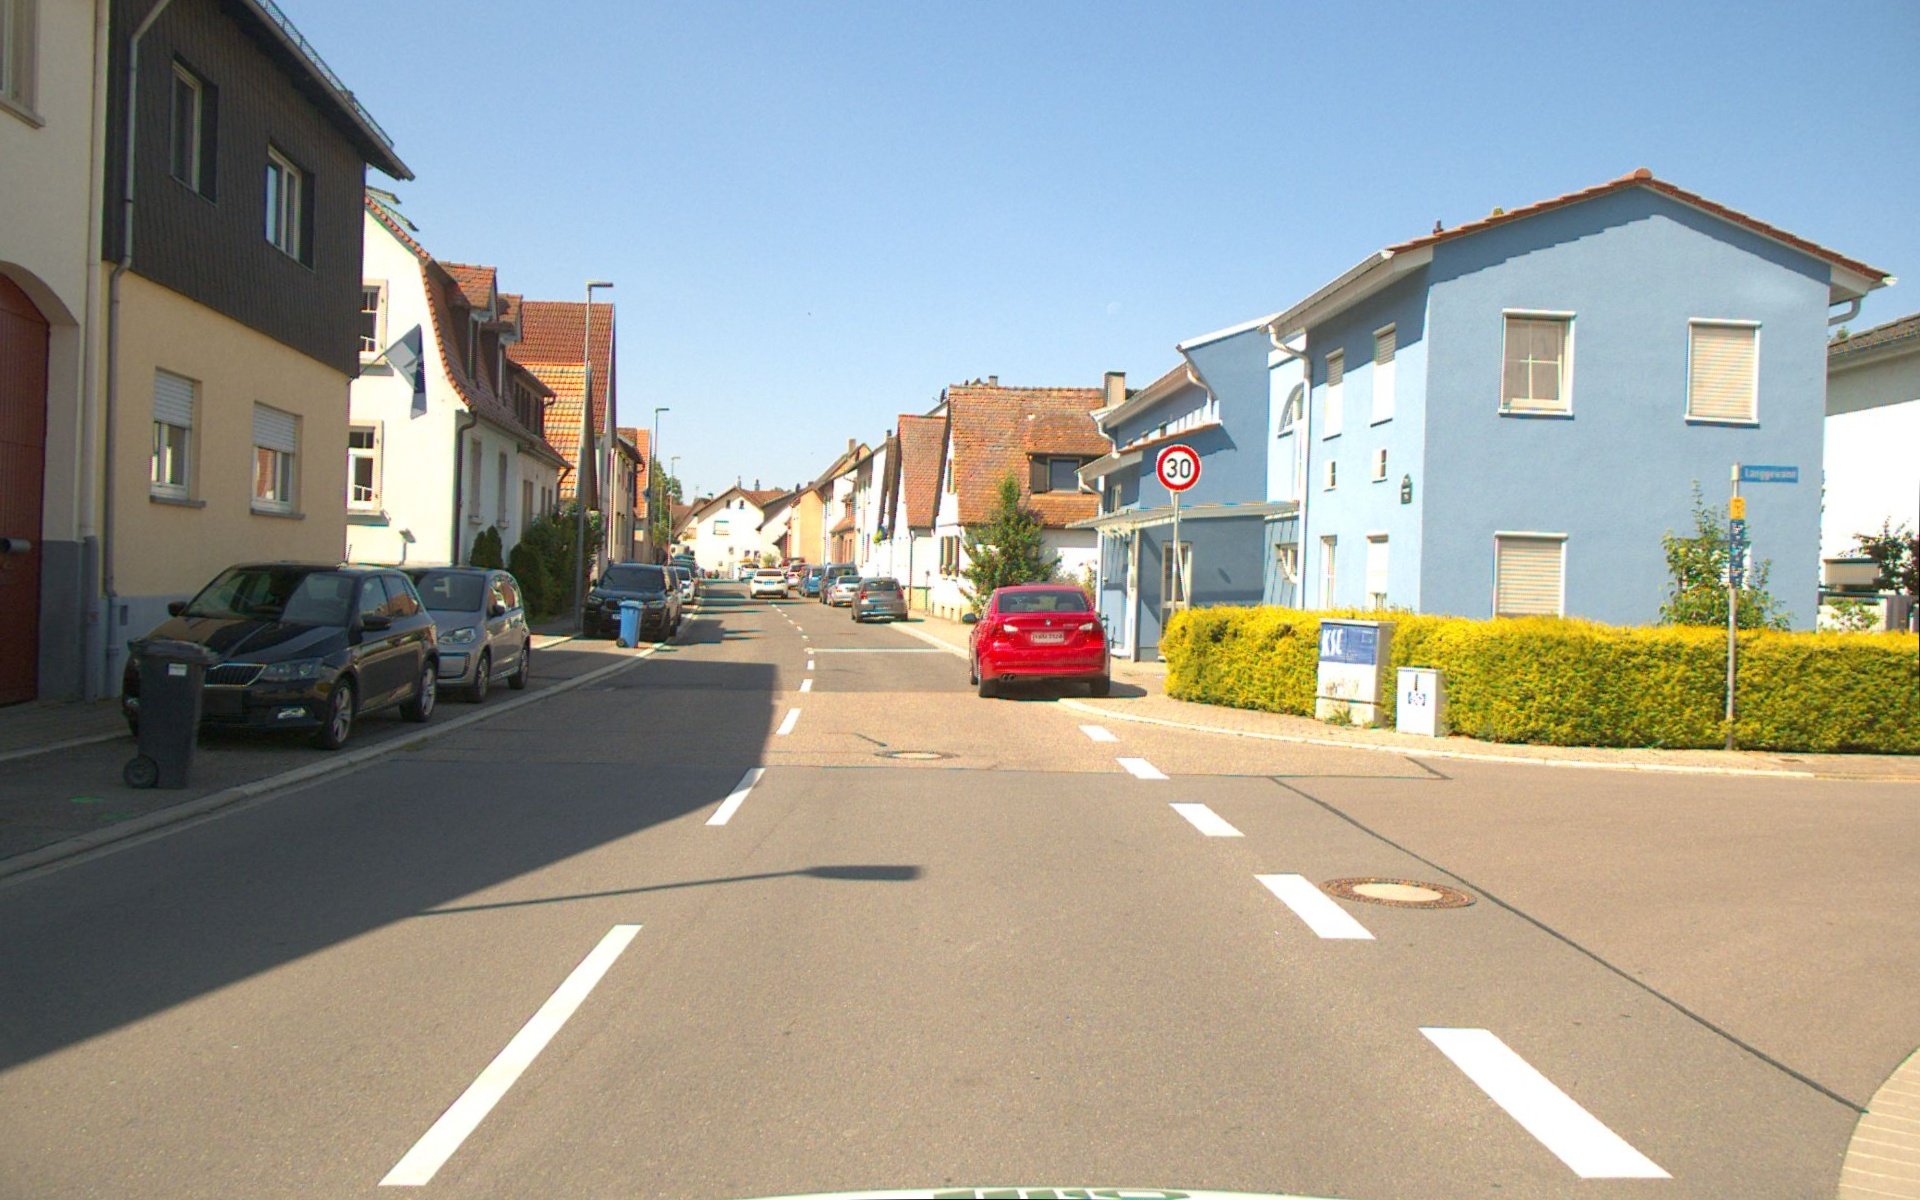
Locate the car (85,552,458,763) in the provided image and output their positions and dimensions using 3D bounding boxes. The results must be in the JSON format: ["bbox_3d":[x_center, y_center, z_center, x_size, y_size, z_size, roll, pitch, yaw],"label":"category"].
[{"bbox_3d":[-5.761,0.414,14.393,1.645,1.462,3.993,4,0,-3],"label":"car"}]

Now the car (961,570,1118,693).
[{"bbox_3d":[0.995,0.409,22.771,1.698,1.521,4.351,0,0,-4],"label":"car"}]

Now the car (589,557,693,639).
[{"bbox_3d":[-7.402,-0.070,38.729,1.883,1.696,4.660,3,0,-6],"label":"car"}]

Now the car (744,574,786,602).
[{"bbox_3d":[-9.780,-0.614,82.908,1.956,1.310,3.992,1,1,-9],"label":"car"}]

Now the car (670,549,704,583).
[{"bbox_3d":[-13.781,-1.714,83.519,1.589,1.605,3.953,2,1,-9],"label":"car"}]

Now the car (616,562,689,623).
[{"bbox_3d":[-9.068,-0.245,49.066,1.838,1.665,4.656,2,1,-8],"label":"car"}]

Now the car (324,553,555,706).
[{"bbox_3d":[-6.038,0.301,19.617,1.608,1.527,3.779,4,0,-3],"label":"car"}]

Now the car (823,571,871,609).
[{"bbox_3d":[-4.862,-0.442,70.768,1.673,1.522,3.445,2,1,-9],"label":"car"}]

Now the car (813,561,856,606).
[{"bbox_3d":[-5.765,-0.762,75.773,1.619,1.943,3.618,2,1,-9],"label":"car"}]

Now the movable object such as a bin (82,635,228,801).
[{"bbox_3d":[-5.142,0.740,10.602,0.541,0.944,0.824,5,0,-9],"label":"movable object such as a bin"}]

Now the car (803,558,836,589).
[{"bbox_3d":[-7.383,-1.399,86.704,1.394,1.541,3.297,2,1,-9],"label":"car"}]

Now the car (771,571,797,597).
[{"bbox_3d":[-11.075,-1.000,103.974,1.394,1.541,3.297,2,1,-9],"label":"car"}]

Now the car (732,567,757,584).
[{"bbox_3d":[-17.962,-2.029,137.668,1.957,1.310,3.796,1,1,-9],"label":"car"}]

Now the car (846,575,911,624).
[{"bbox_3d":[-2.721,-0.042,54.261,1.673,1.458,3.881,2,1,-9],"label":"car"}]

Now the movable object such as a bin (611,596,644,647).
[{"bbox_3d":[-6.782,0.442,33.782,0.585,0.999,0.530,2,0,-7],"label":"movable object such as a bin"}]

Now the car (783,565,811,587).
[{"bbox_3d":[-11.090,-1.626,112.177,1.734,1.458,3.444,1,1,-8],"label":"car"}]

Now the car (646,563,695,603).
[{"bbox_3d":[-12.199,-0.737,69.925,1.772,1.574,4.396,2,1,-8],"label":"car"}]

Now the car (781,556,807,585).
[{"bbox_3d":[-11.758,-2.087,117.062,1.734,2.039,3.444,1,0,-8],"label":"car"}]
